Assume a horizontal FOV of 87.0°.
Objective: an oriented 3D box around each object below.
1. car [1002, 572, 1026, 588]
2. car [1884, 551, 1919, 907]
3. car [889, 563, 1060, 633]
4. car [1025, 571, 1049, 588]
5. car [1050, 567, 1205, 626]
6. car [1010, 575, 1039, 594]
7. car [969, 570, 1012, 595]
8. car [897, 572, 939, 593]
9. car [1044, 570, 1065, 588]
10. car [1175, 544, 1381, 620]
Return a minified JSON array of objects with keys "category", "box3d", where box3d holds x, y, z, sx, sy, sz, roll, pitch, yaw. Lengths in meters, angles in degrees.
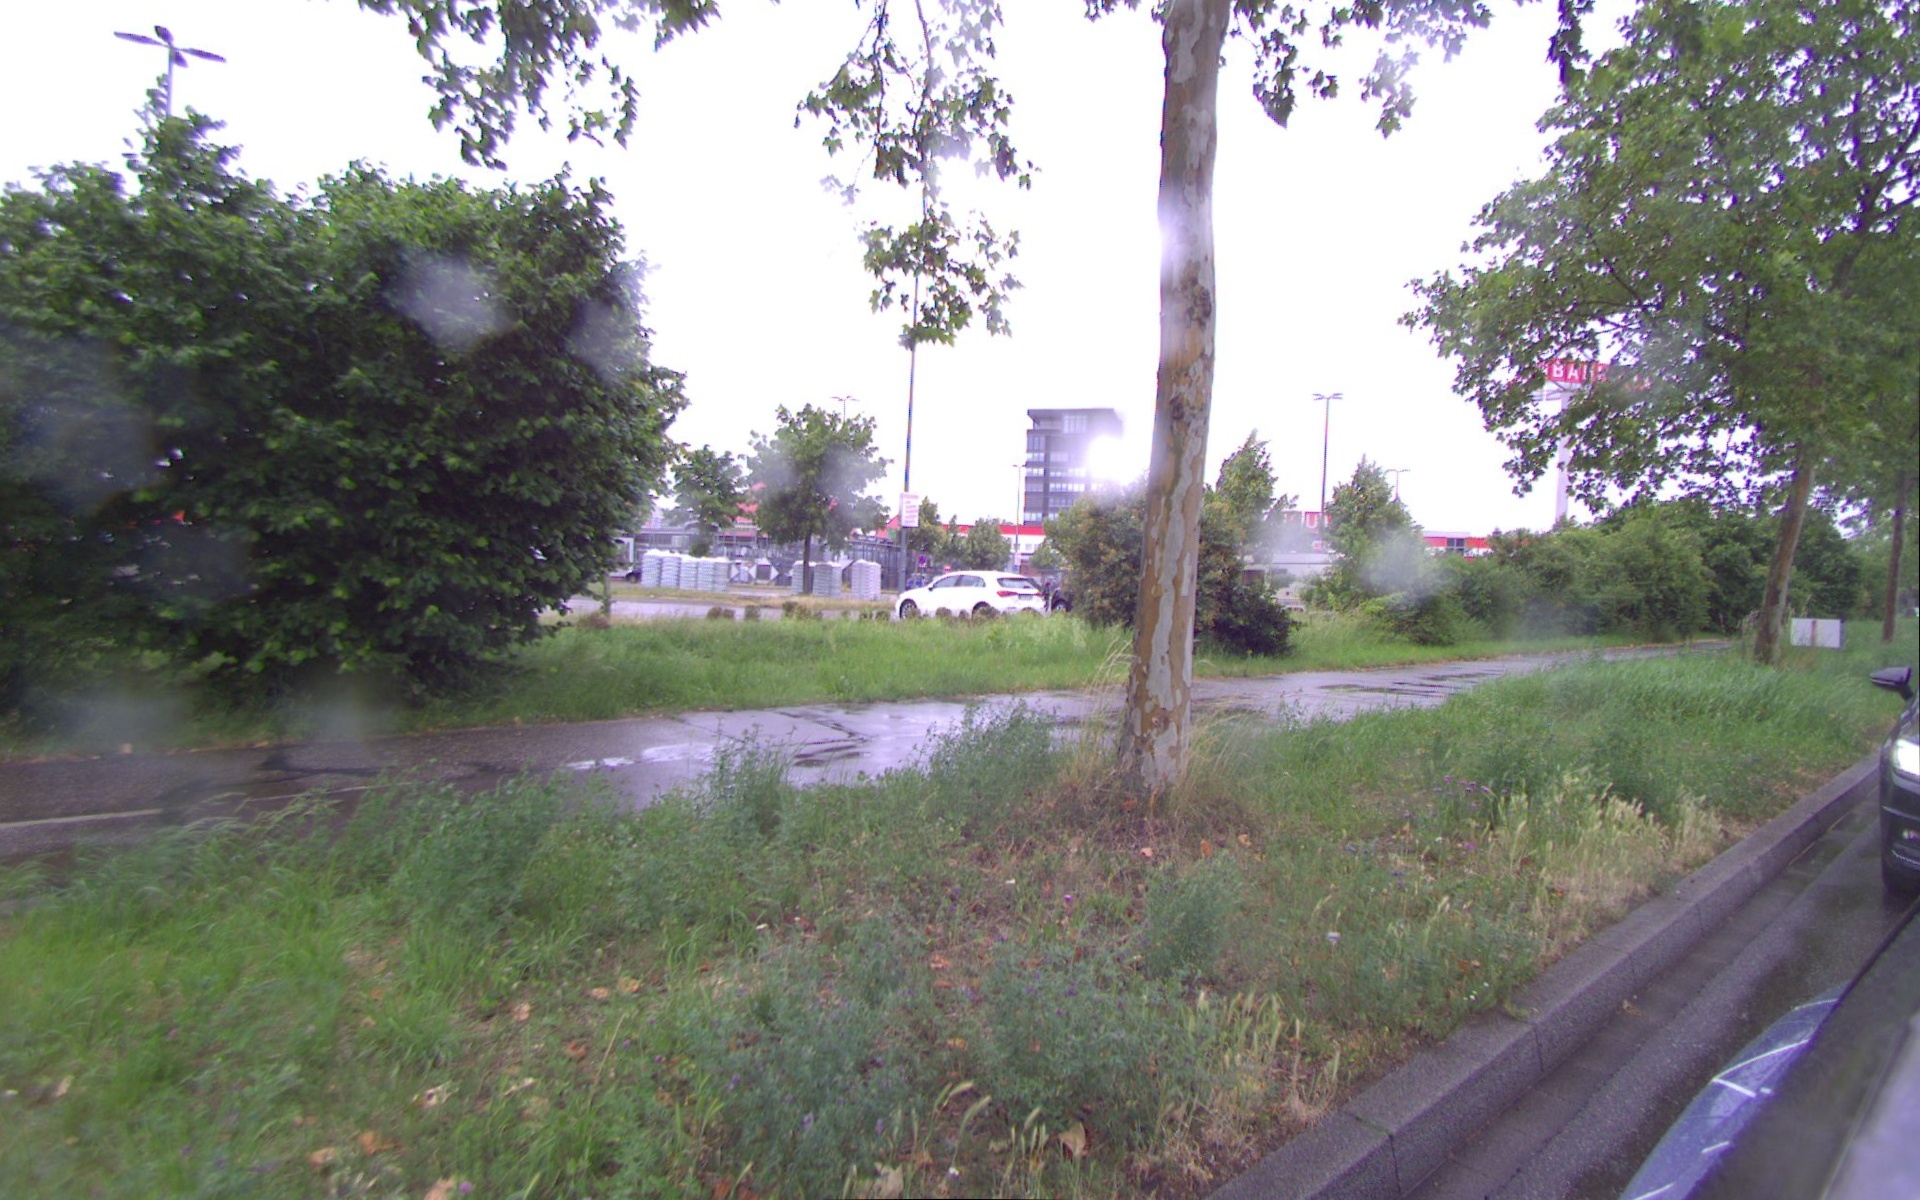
[{"category":"car","box3d":[6.016,-2.283,112.497,1.973,1.697,4.257,2,2,13]},{"category":"car","box3d":[6.565,0.586,5.612,4.548,1.625,1.768,0,0,-43]},{"category":"car","box3d":[0.295,-0.106,25.937,1.899,1.571,4.262,0,3,-45]},{"category":"car","box3d":[8.510,-2.291,111.896,1.973,1.697,4.257,2,2,13]},{"category":"car","box3d":[4.937,-0.148,30.292,1.899,1.571,4.262,0,3,-45]},{"category":"car","box3d":[6.041,-1.452,94.720,1.973,1.697,4.255,2,2,14]},{"category":"car","box3d":[2.102,-1.184,67.839,1.903,1.571,4.254,2,2,15]},{"category":"car","box3d":[-3.275,-1.405,79.169,1.905,1.571,4.249,2,2,18]},{"category":"car","box3d":[9.326,-2.096,99.894,1.967,1.697,4.269,2,2,5]},{"category":"car","box3d":[10.961,-0.700,35.281,6.399,2.392,2.357,3,2,41]}]
